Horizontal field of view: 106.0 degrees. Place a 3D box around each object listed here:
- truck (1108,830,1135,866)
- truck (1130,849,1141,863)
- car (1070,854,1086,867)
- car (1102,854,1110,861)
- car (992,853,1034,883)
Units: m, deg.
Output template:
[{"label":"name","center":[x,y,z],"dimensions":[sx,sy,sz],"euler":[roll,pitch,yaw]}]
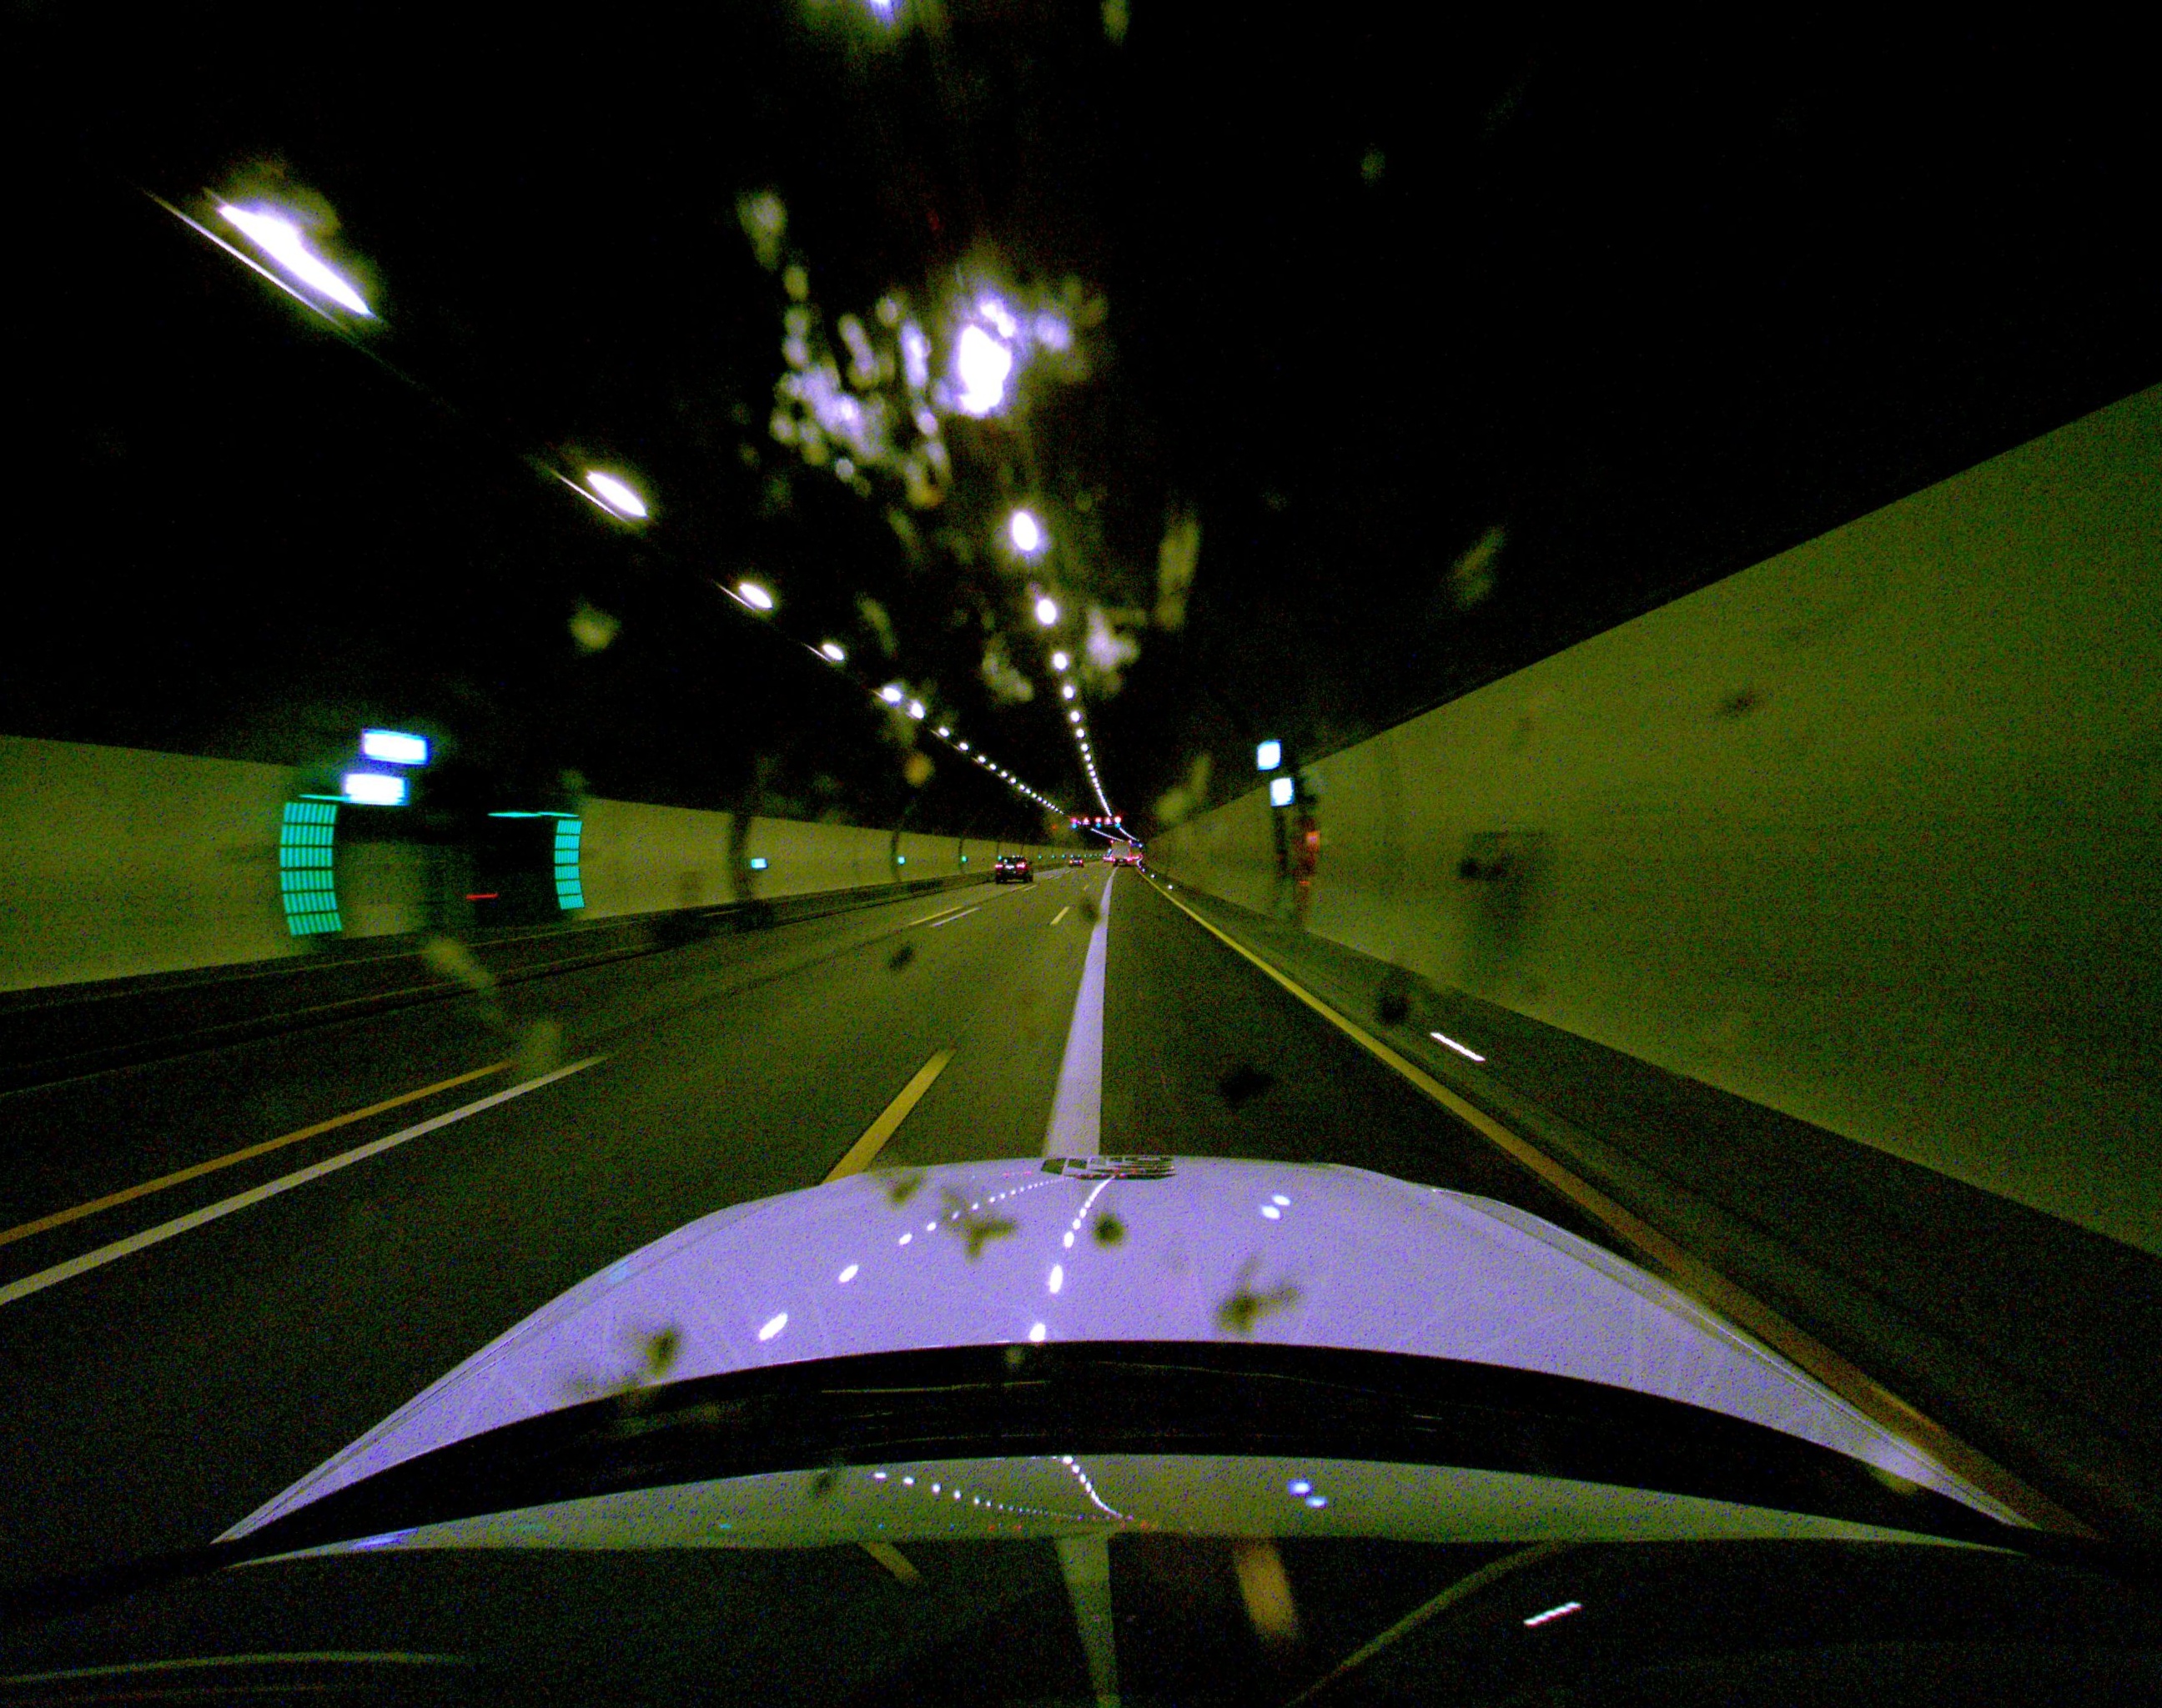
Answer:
[{"label":"truck","center":[5.759,-0.739,118.223],"dimensions":[3.267,4.650,17.291],"euler":[-3,0,1]},{"label":"truck","center":[16.606,0.542,246.815],"dimensions":[2.909,4.047,14.046],"euler":[-3,0,4]},{"label":"car","center":[-0.341,0.807,104.034],"dimensions":[1.805,1.520,4.003],"euler":[-2,1,2]},{"label":"car","center":[5.117,0.750,165.149],"dimensions":[1.644,1.274,4.003],"euler":[-2,1,2]},{"label":"car","center":[-3.887,0.756,46.980],"dimensions":[1.805,1.618,4.004],"euler":[-2,0,3]}]
